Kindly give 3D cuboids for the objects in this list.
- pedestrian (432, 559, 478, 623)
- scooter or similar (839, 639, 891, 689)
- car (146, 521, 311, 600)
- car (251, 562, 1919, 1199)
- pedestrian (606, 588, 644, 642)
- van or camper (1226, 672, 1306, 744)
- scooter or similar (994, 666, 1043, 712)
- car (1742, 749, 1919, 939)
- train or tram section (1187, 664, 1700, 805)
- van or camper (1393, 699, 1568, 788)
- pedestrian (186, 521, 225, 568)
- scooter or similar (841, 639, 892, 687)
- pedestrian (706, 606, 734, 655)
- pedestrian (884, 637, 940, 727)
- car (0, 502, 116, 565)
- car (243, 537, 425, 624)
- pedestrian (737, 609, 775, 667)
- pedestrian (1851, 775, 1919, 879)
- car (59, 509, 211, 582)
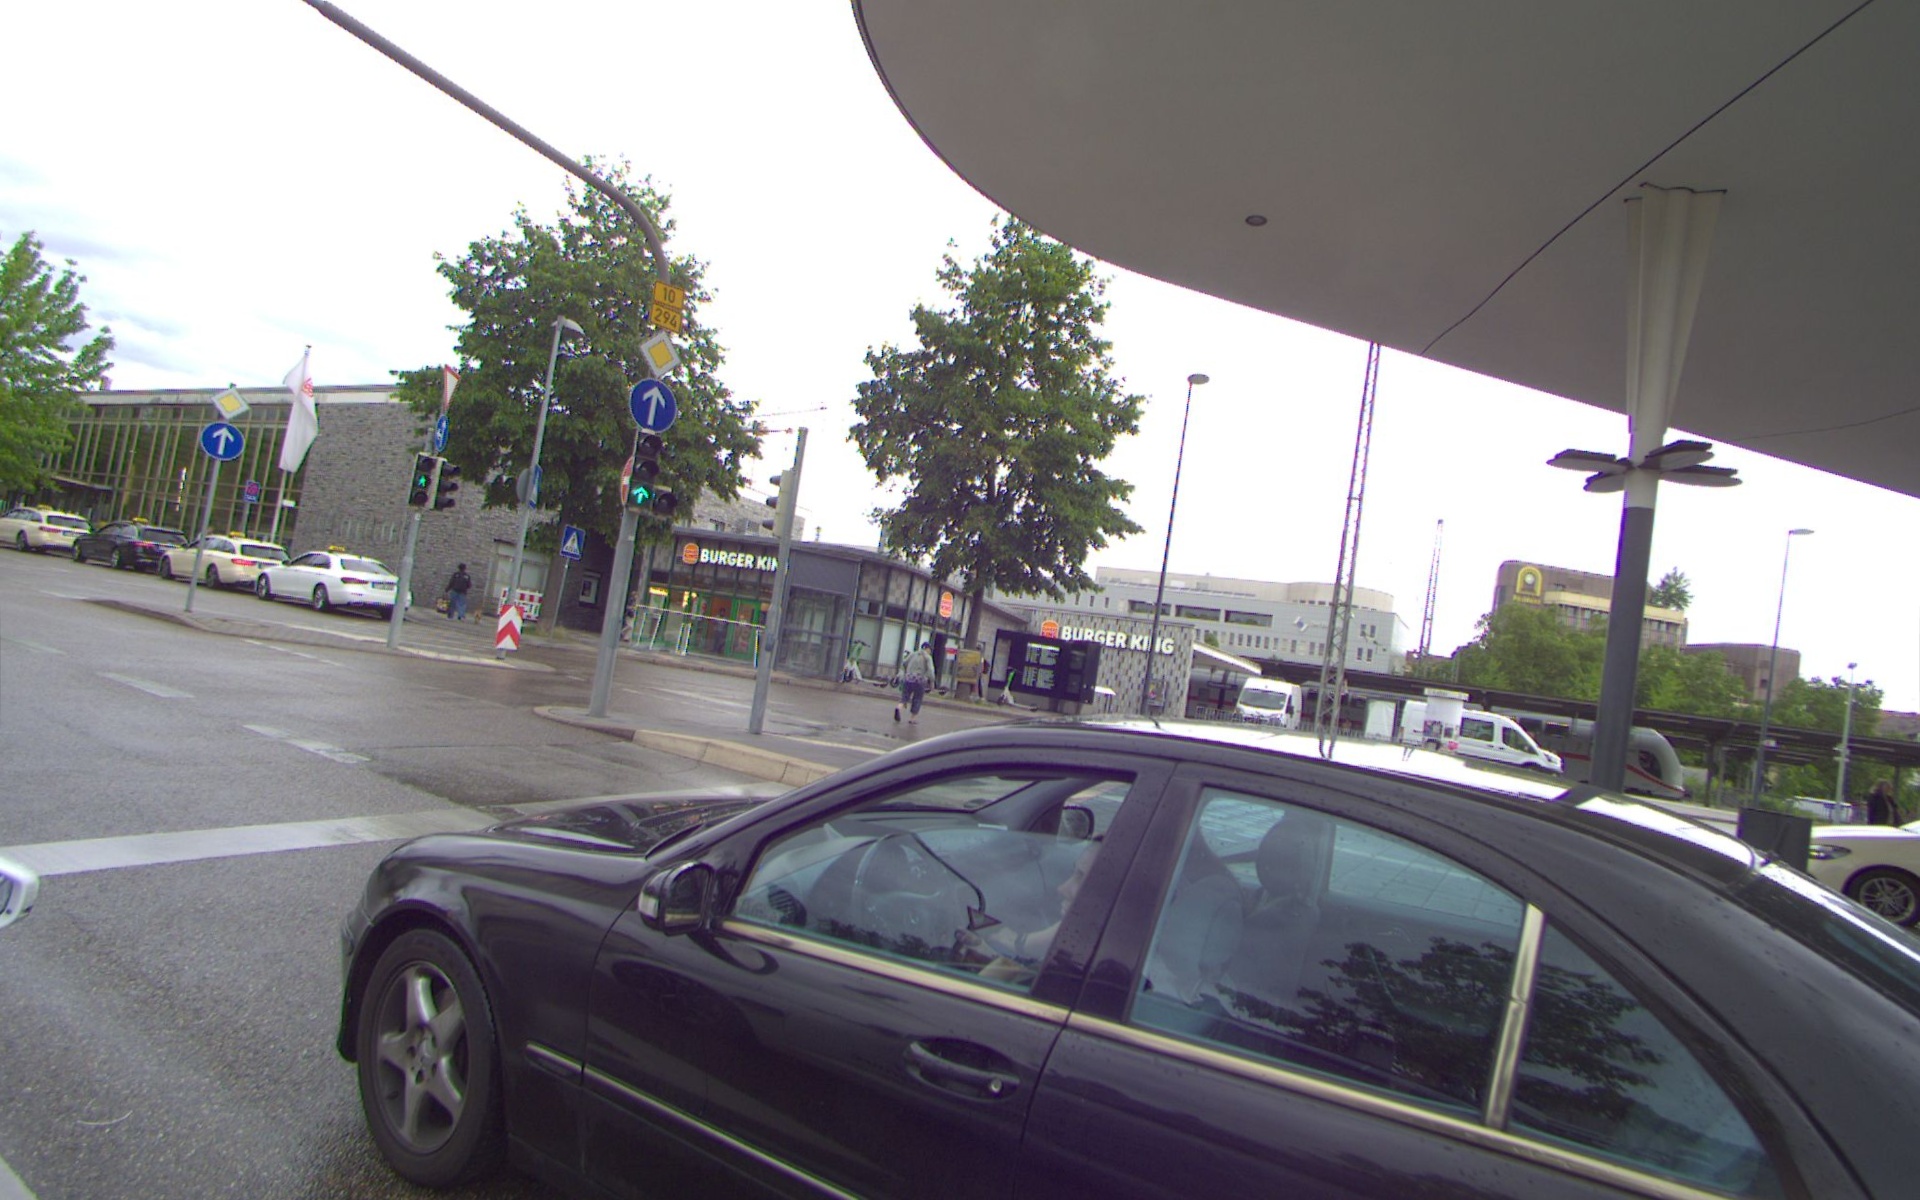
[{"bbox_3d":[-13.897,-0.230,27.707,0.785,1.645,0.721,7,-1,-13],"label":"pedestrian"},{"bbox_3d":[-2.611,1.751,27.700,1.280,1.196,0.333,7,-1,-2],"label":"scooter or similar"},{"bbox_3d":[-20.887,-1.139,28.675,4.876,1.618,1.997,7,-2,32],"label":"car"},{"bbox_3d":[0.477,0.919,2.280,4.378,1.482,1.698,6,-2,31],"label":"car"},{"bbox_3d":[-11.299,0.494,33.951,0.786,1.686,0.719,6,-1,42],"label":"pedestrian"},{"bbox_3d":[12.663,4.416,41.348,2.127,2.461,5.865,7,-2,25],"label":"van or camper"},{"bbox_3d":[1.717,2.624,29.724,1.280,1.196,0.333,7,-1,-2],"label":"scooter or similar"},{"bbox_3d":[11.322,2.830,10.641,4.466,1.700,1.997,6,-2,32],"label":"car"},{"bbox_3d":[29.571,8.136,65.085,28.822,4.230,4.600,6,-2,32],"label":"train or tram section"},{"bbox_3d":[20.363,5.554,39.490,5.767,2.461,1.997,6,-2,32],"label":"van or camper"},{"bbox_3d":[-28.165,-2.054,37.557,0.698,1.598,0.770,7,-1,28],"label":"pedestrian"},{"bbox_3d":[-2.617,1.774,28.302,1.280,1.196,0.333,7,-1,-2],"label":"scooter or similar"},{"bbox_3d":[-8.747,1.091,36.654,0.713,1.686,0.794,7,-1,-20],"label":"pedestrian"},{"bbox_3d":[-0.886,1.511,18.769,0.824,1.547,0.638,7,-1,2],"label":"pedestrian"},{"bbox_3d":[-31.787,-2.381,34.721,4.868,1.618,2.000,7,-2,24],"label":"car"},{"bbox_3d":[-15.995,-0.506,25.621,4.822,1.618,1.883,6,-2,32],"label":"car"},{"bbox_3d":[-6.414,1.182,31.677,0.763,1.690,0.645,10,5,9],"label":"pedestrian"},{"bbox_3d":[15.908,3.878,17.288,0.638,1.613,0.732,8,-1,-44],"label":"pedestrian"},{"bbox_3d":[-26.021,-1.730,31.693,4.875,1.616,2.000,7,-3,31],"label":"car"}]
